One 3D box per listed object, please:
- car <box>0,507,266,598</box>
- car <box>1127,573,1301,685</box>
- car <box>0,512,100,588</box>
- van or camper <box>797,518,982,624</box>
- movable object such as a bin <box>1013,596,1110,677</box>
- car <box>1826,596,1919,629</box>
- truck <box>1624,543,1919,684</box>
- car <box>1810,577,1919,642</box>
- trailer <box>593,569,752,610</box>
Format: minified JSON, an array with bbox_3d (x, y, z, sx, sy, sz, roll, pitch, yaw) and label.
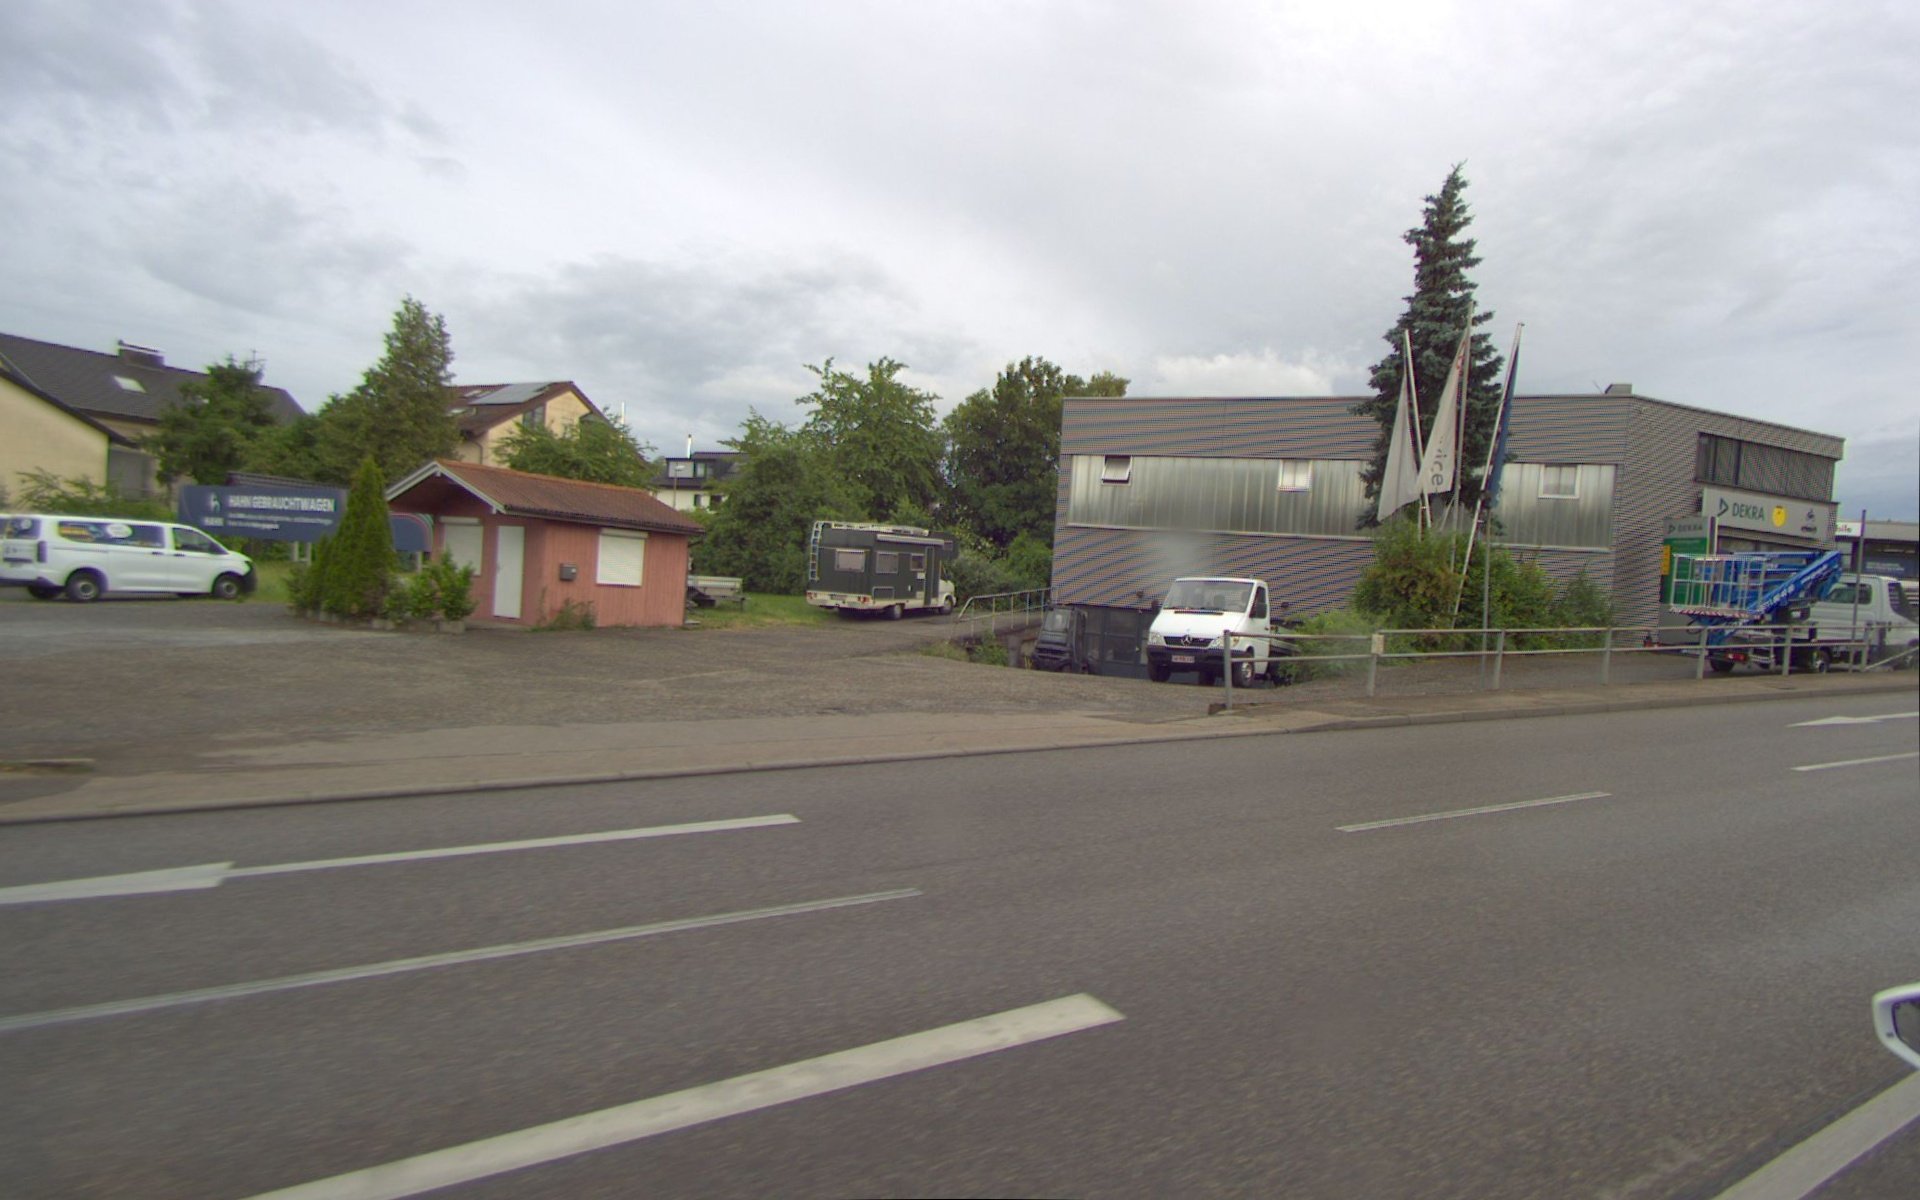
[{"bbox_3d":[-20.488,-1.110,25.080,1.924,2.014,4.868,3,1,24],"label":"car"},{"bbox_3d":[5.135,0.482,19.869,2.029,1.896,4.270,3,2,33],"label":"car"},{"bbox_3d":[-26.356,-1.383,27.251,1.691,2.014,4.271,3,1,23],"label":"car"},{"bbox_3d":[-2.079,-1.028,33.742,2.430,2.934,8.110,7,5,24],"label":"van or camper"},{"bbox_3d":[3.082,1.147,29.791,1.632,2.039,4.001,2,-5,23],"label":"movable object such as a bin"},{"bbox_3d":[46.674,0.628,51.075,1.851,1.447,4.106,2,2,4],"label":"car"},{"bbox_3d":[17.734,0.203,21.552,7.783,2.668,1.987,0,2,-25],"label":"truck"},{"bbox_3d":[31.633,0.256,34.954,1.963,2.014,4.870,4,3,27],"label":"car"},{"bbox_3d":[-8.939,-0.342,31.141,4.788,1.042,2.096,3,1,32],"label":"trailer"}]
